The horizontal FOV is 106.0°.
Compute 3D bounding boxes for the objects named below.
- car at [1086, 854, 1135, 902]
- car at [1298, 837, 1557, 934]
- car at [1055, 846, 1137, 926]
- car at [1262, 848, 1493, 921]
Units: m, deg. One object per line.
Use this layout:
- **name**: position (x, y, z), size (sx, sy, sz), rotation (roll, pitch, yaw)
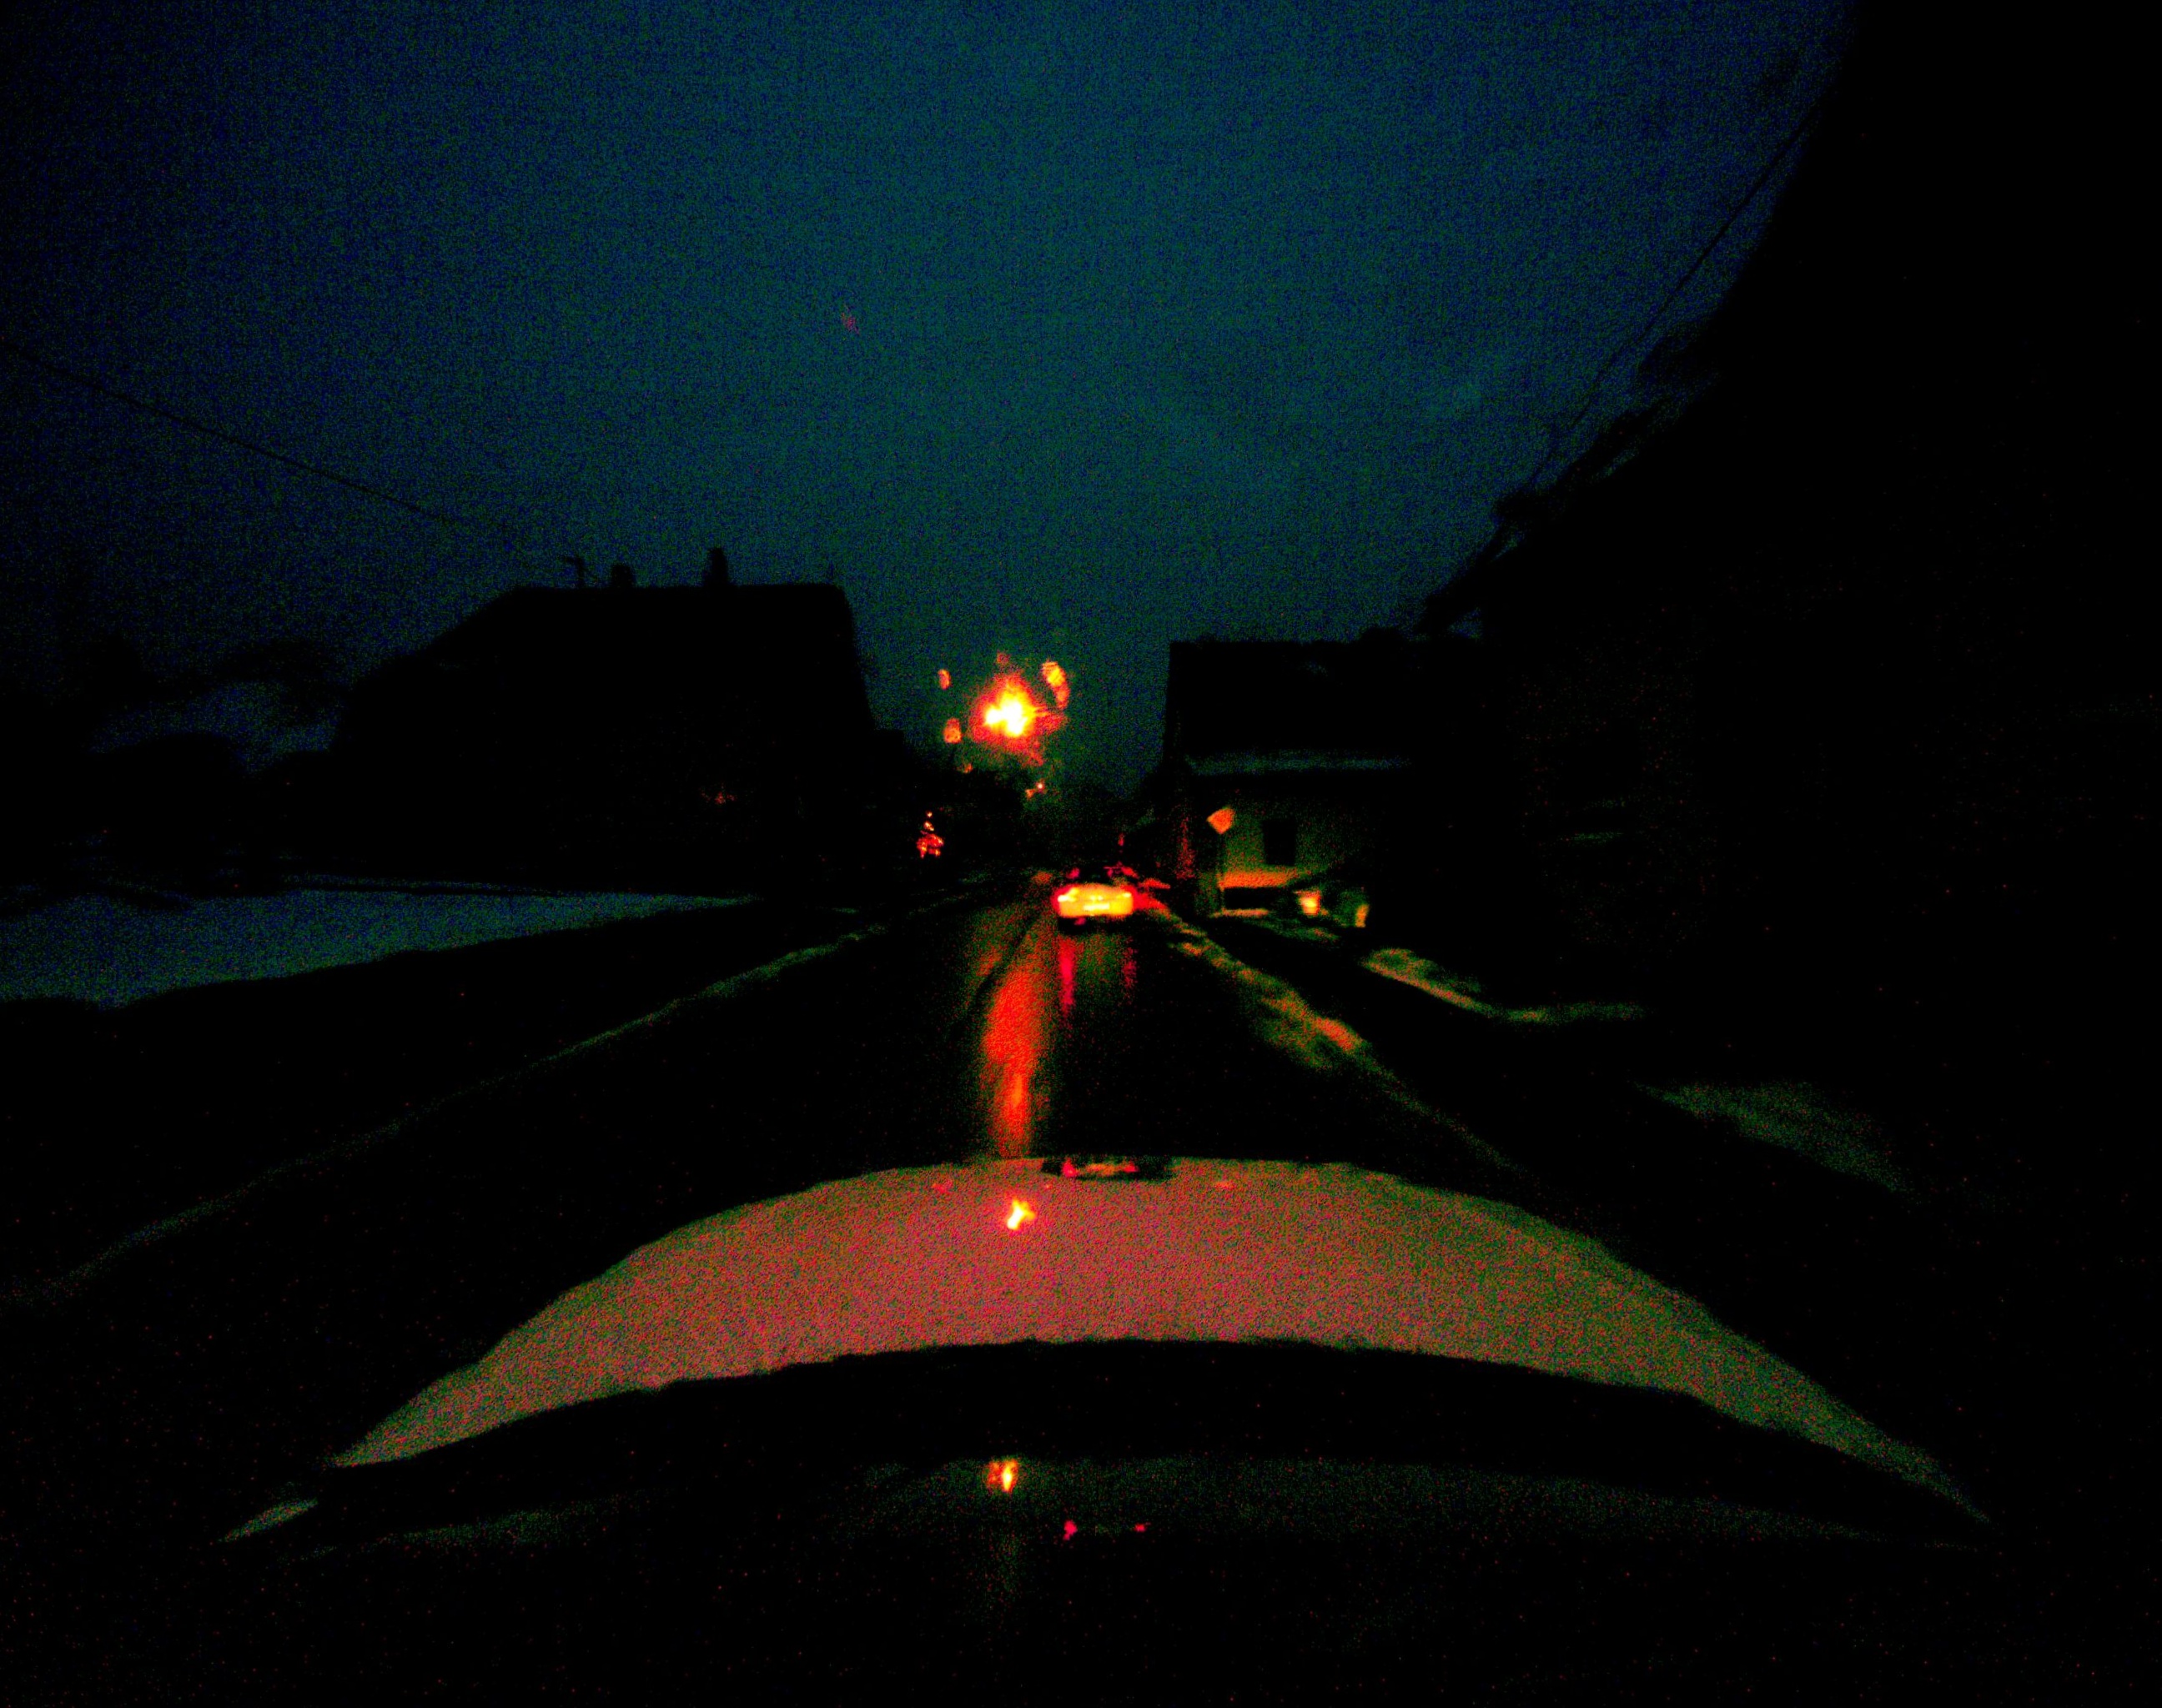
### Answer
- **car**: position (1.018, 0.835, 29.495), size (1.640, 1.596, 3.698), rotation (1, -1, 0)
- **car**: position (5.900, 0.501, 14.160), size (3.735, 1.497, 1.819), rotation (-1, 0, -5)
- **car**: position (0.329, 0.670, 18.172), size (1.640, 1.596, 3.699), rotation (1, -1, 1)
- **car**: position (6.122, 0.605, 17.130), size (4.161, 1.433, 1.899), rotation (0, 0, -4)
